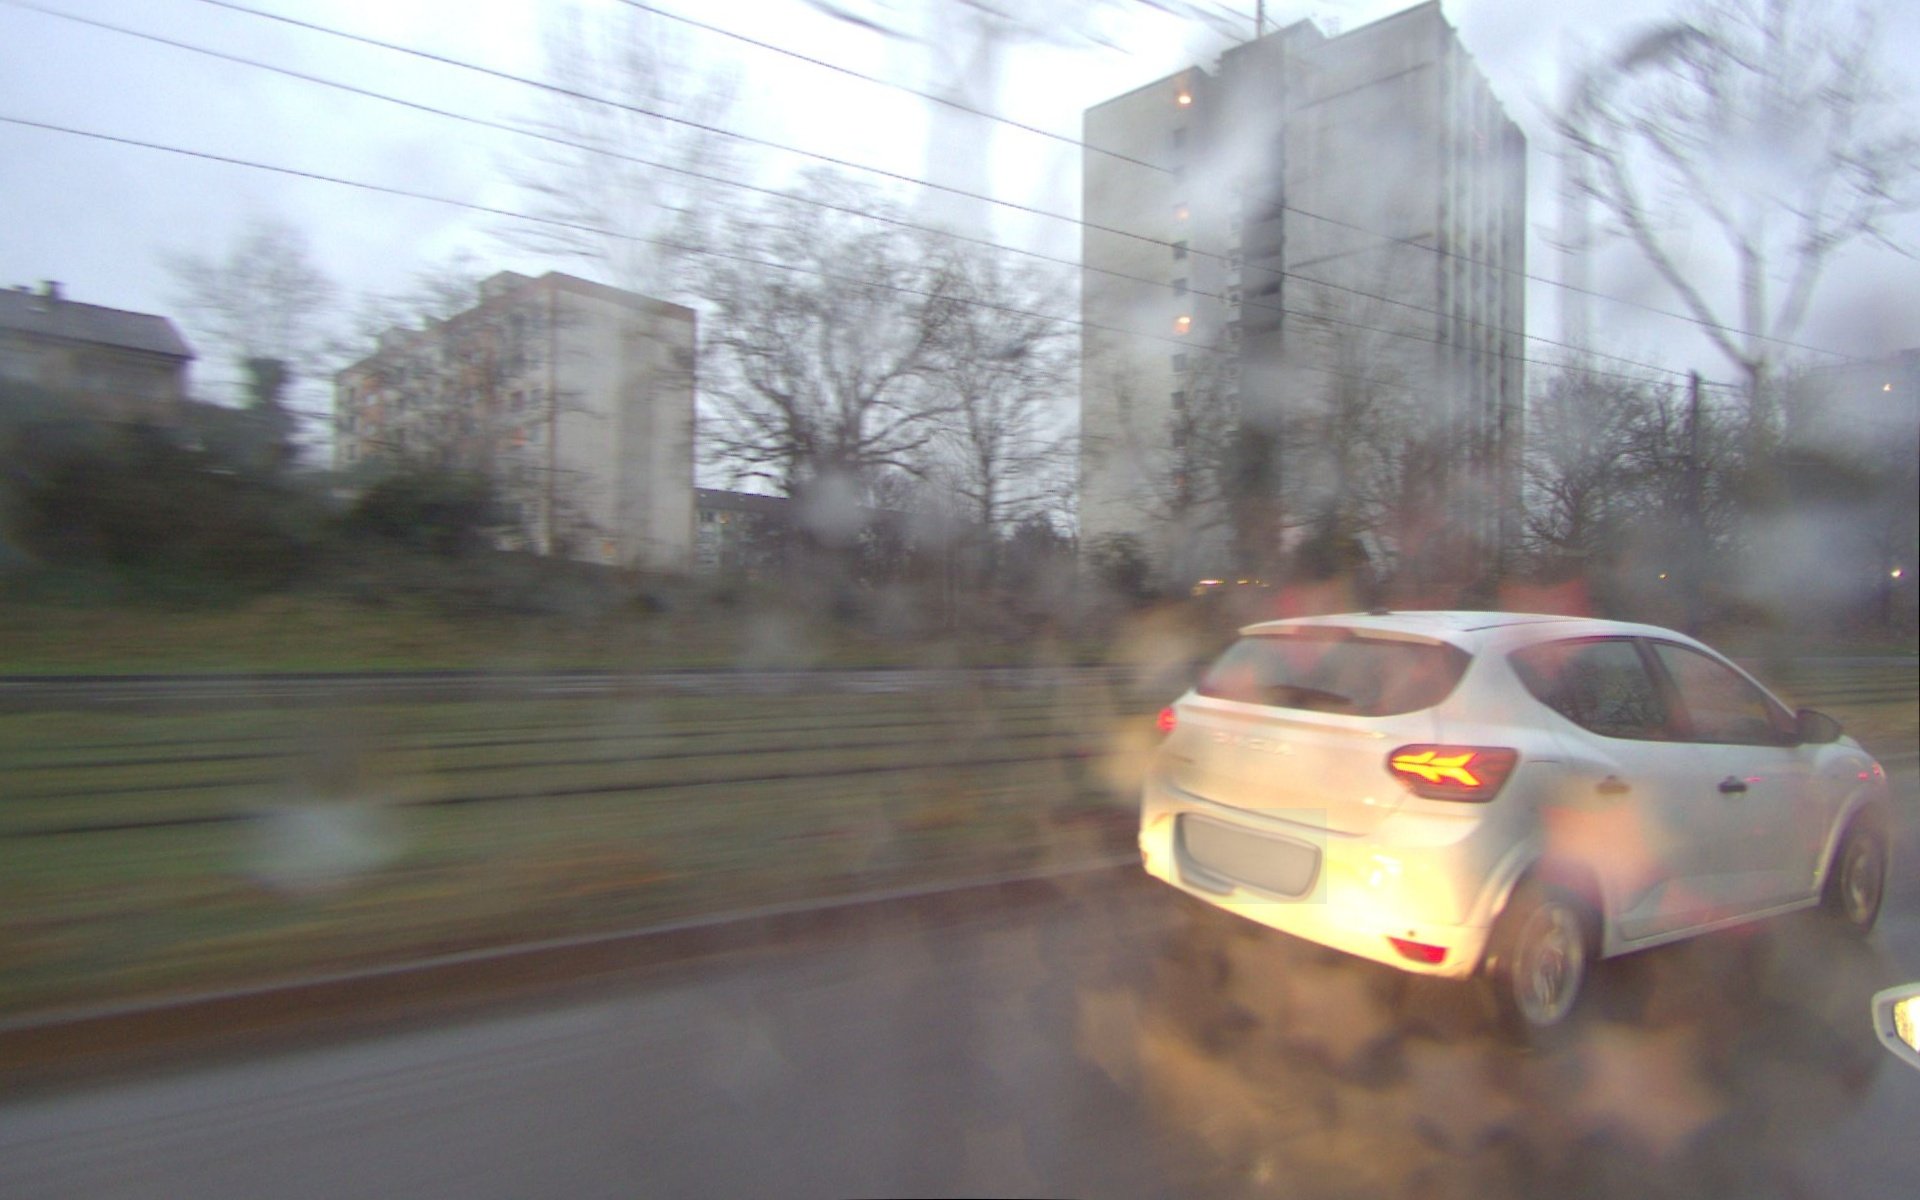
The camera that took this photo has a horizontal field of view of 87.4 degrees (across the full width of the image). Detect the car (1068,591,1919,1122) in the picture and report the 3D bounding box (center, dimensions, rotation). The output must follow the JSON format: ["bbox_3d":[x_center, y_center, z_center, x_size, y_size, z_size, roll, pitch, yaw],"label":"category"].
[{"bbox_3d":[2.672,0.789,4.661,4.083,1.545,1.702,1,-1,-28],"label":"car"}]
